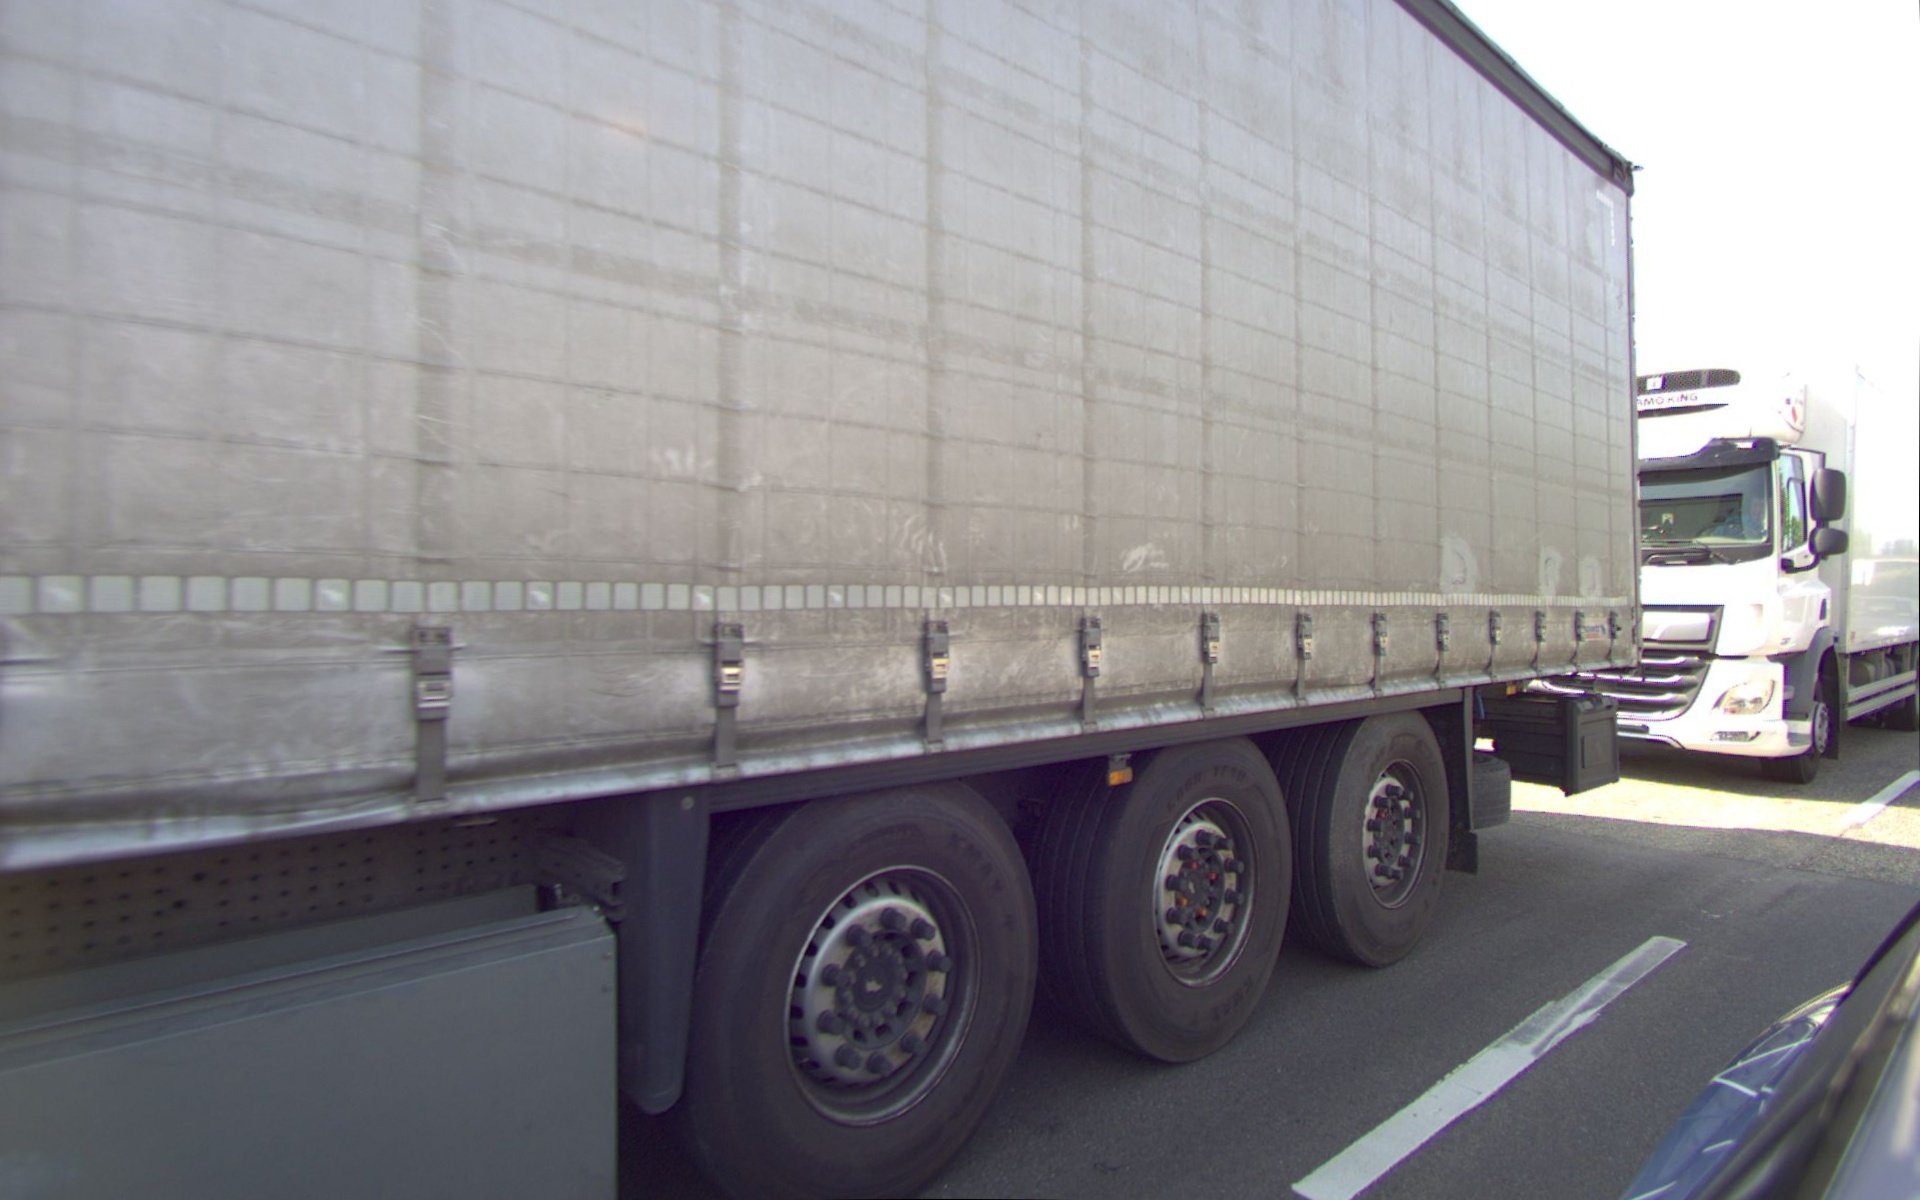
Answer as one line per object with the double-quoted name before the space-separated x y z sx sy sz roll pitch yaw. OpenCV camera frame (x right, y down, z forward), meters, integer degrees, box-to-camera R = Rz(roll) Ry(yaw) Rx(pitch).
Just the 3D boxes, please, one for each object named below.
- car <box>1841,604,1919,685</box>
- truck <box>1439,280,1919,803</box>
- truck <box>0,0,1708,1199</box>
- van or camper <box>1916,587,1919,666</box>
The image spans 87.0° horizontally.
"car" 18.611 0.797 19.568 4.150 1.447 1.738 0 -1 -40
"truck" 9.736 -0.420 12.072 10.942 3.860 2.885 0 -1 -40
"truck" -2.716 -0.740 1.825 16.415 4.321 2.895 0 -1 -41
"van or camper" 24.572 0.576 24.258 5.041 1.810 1.750 0 -2 -39
